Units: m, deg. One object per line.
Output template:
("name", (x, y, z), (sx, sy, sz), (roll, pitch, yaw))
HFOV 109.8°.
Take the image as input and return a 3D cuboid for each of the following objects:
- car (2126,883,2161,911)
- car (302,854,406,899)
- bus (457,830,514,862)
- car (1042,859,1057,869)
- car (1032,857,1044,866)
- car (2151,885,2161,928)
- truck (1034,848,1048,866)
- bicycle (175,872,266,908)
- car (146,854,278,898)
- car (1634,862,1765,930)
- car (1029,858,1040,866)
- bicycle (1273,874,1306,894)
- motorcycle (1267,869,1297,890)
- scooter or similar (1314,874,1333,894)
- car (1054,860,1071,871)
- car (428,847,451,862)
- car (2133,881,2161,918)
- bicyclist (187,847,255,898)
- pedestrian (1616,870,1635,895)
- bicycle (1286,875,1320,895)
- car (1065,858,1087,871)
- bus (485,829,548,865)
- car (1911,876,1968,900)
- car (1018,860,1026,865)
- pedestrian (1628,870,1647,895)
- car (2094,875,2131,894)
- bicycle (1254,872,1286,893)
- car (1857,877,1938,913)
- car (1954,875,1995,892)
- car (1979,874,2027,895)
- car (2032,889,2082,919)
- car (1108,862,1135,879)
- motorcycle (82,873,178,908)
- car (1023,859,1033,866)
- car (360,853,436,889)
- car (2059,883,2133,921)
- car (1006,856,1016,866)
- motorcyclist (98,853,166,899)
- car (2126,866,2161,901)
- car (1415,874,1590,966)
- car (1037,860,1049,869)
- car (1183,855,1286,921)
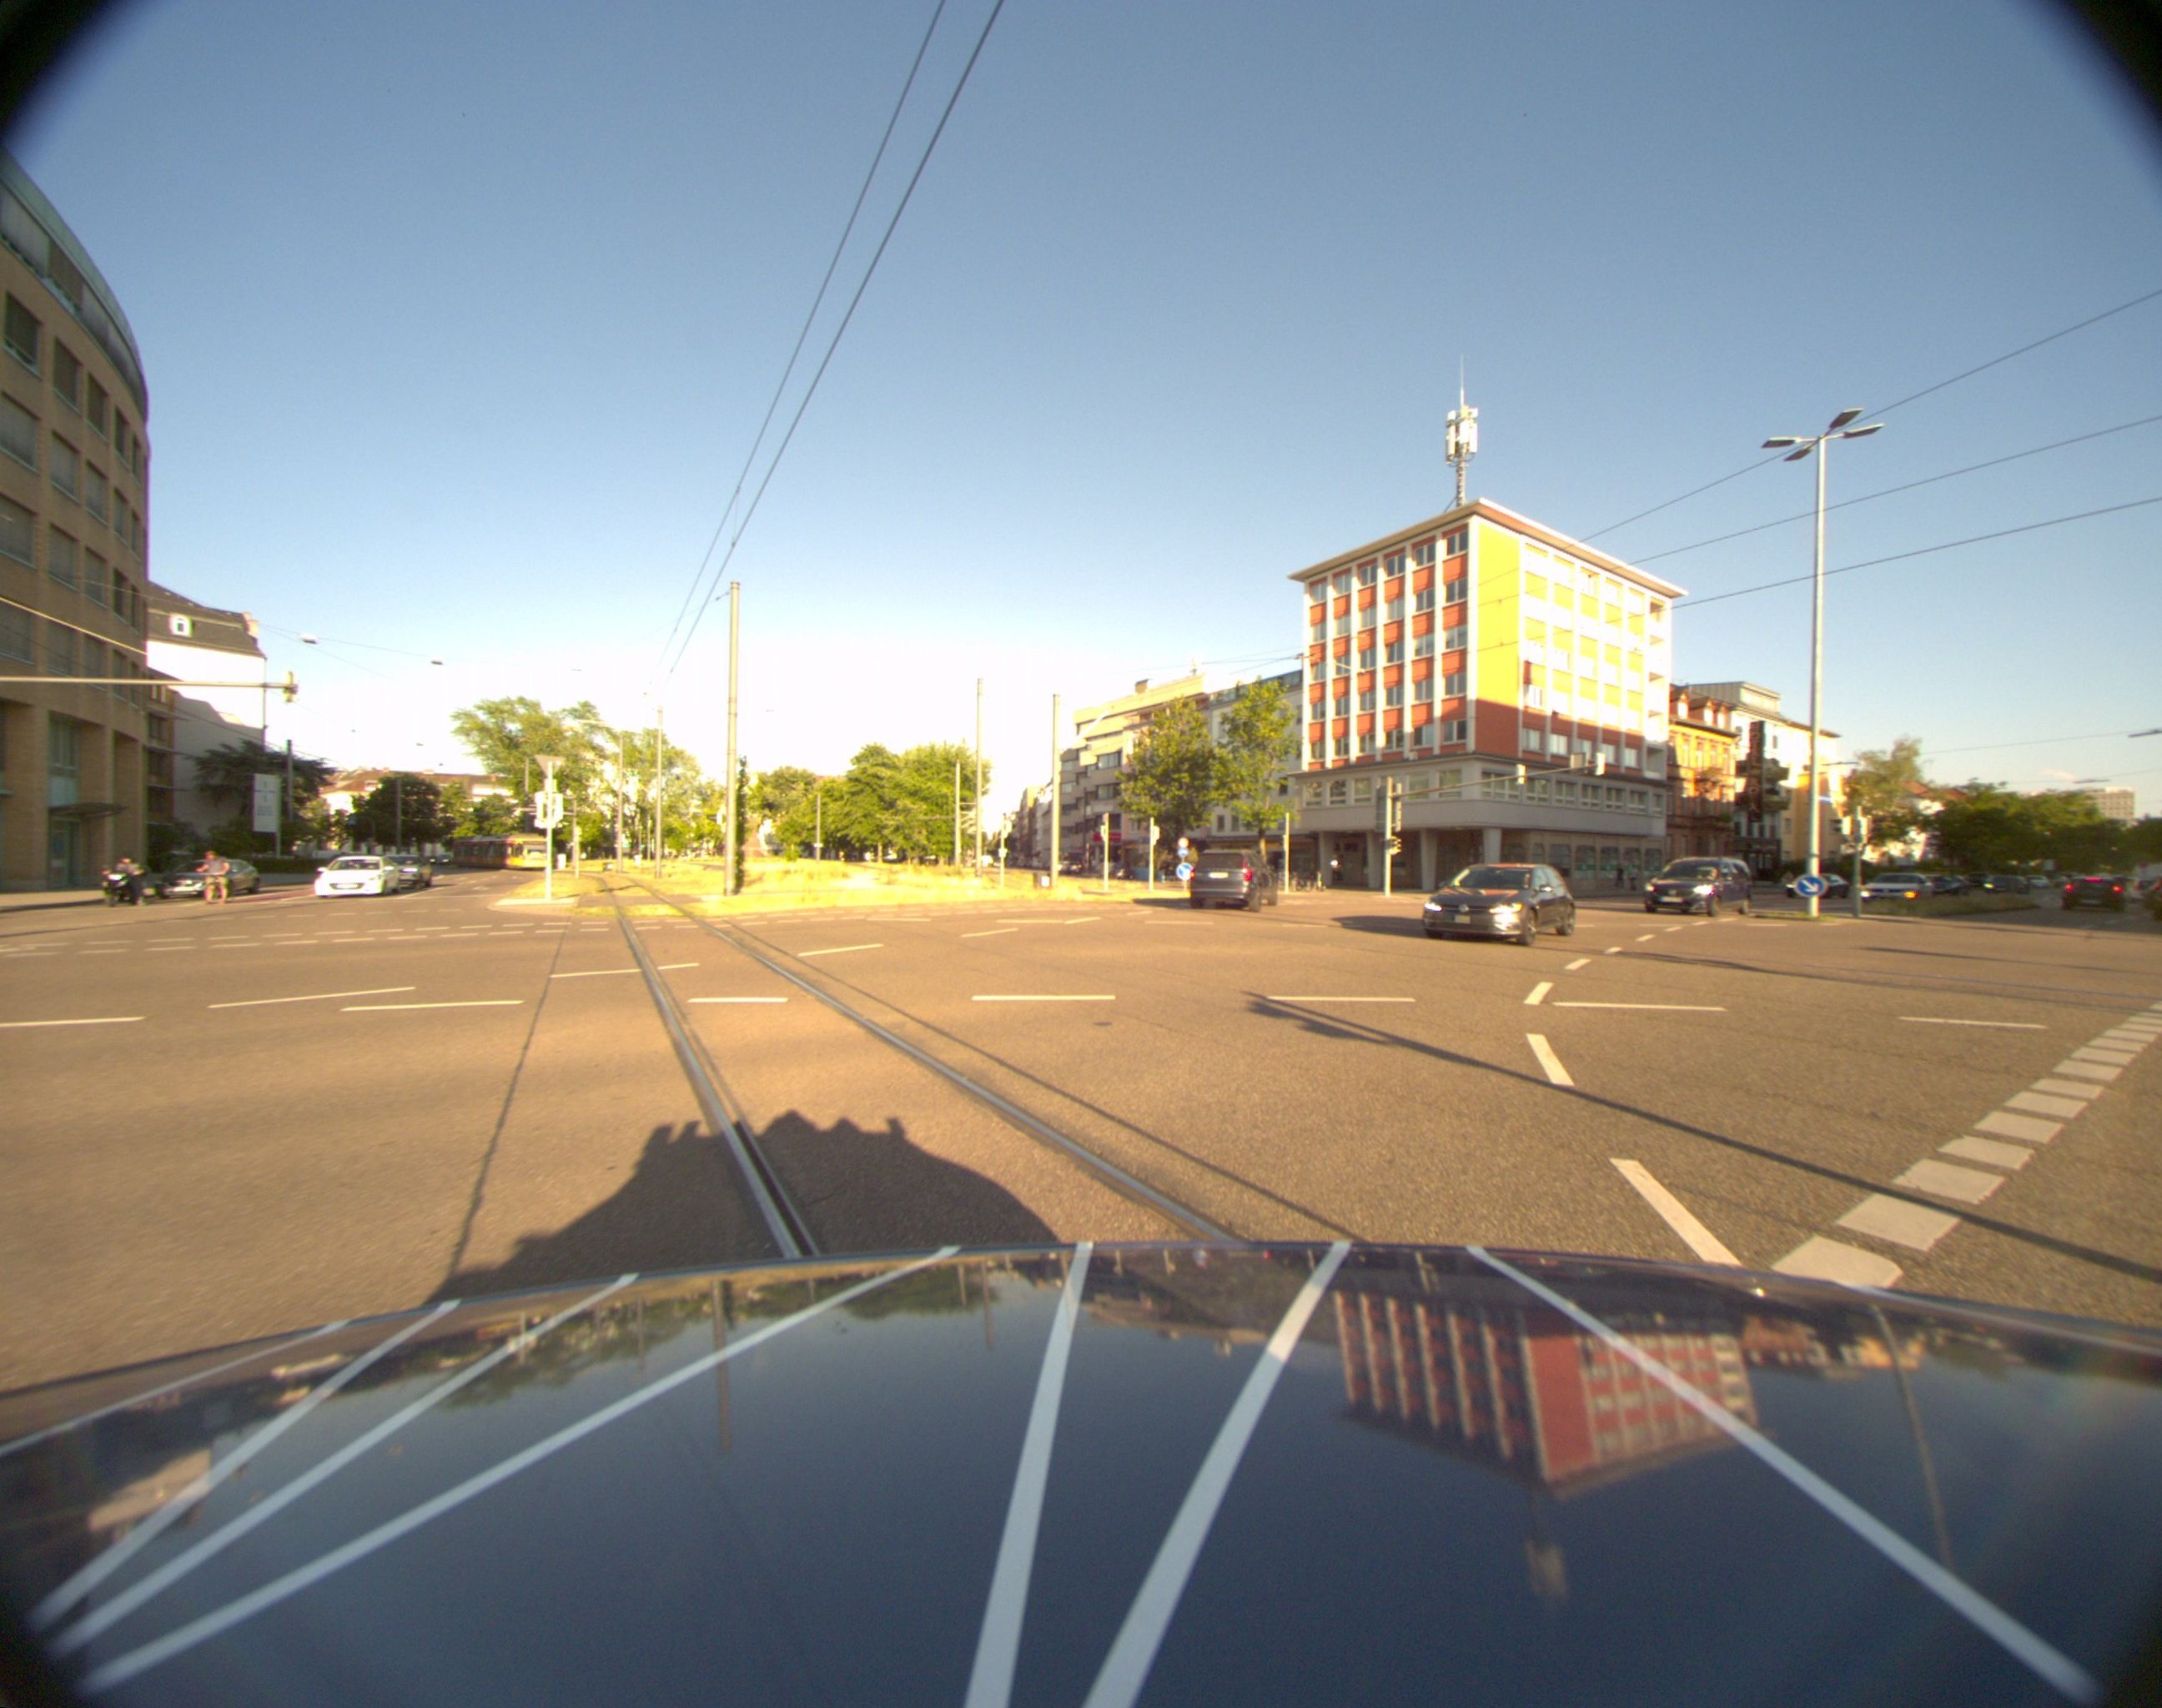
("car", (63.651, 2.561, 45.151), (3.645, 1.536, 1.676), (2, 1, -38))
("car", (-26.594, 0.769, 27.967), (1.999, 1.483, 4.165), (0, 0, -33))
("bus", (-62.443, -0.799, 79.574), (11.047, 3.191, 2.358), (1, 0, 39))
("car", (-4.875, 1.548, 117.619), (1.740, 1.376, 3.620), (1, 0, -10))
("car", (-8.300, 1.444, 145.631), (1.771, 1.692, 3.577), (1, 0, -10))
("car", (41.417, 1.987, 28.130), (4.155, 1.556, 1.796), (2, 0, -32))
("truck", (-7.419, 0.588, 138.788), (1.740, 3.201, 6.401), (1, 0, -10))
("bicycle", (-27.445, 1.104, 24.310), (1.156, 0.994, 2.962), (1, 0, -33))
("car", (-33.040, 0.767, 29.083), (1.989, 1.528, 4.485), (0, 0, -30))
("car", (19.022, 1.212, 23.312), (4.475, 1.843, 1.891), (1, 1, -35))
("car", (-9.335, 1.577, 152.291), (1.771, 1.692, 3.577), (1, 0, -10))
("bicycle", (12.690, 1.822, 46.359), (0.595, 1.108, 2.001), (2, 1, -33))
("motorcycle", (13.398, 1.704, 50.585), (2.271, 1.384, 0.841), (1, -1, -43))
("scooter or similar", (16.059, 1.970, 50.366), (0.485, 1.228, 1.559), (1, 1, -12))
("car", (-2.565, 1.538, 104.046), (1.741, 1.376, 3.388), (1, 0, -10))
("car", (-83.366, 0.066, 98.757), (1.848, 1.807, 3.989), (1, 0, -34))
("car", (52.457, 2.210, 36.625), (4.795, 1.701, 1.816), (2, 1, -34))
("bicyclist", (-27.359, 0.572, 24.203), (1.156, 1.562, 1.223), (1, 0, -33))
("pedestrian", (37.893, 1.973, 52.892), (1.013, 1.716, 0.667), (1, 0, -30))
("bicycle", (13.754, 1.896, 47.048), (0.595, 1.108, 2.056), (1, 1, -34))
("car", (-0.648, 1.228, 93.280), (1.965, 1.547, 3.870), (1, 0, -10))
("bus", (-53.968, -0.686, 72.492), (11.084, 3.191, 2.416), (1, 0, 40))
("car", (58.252, 2.279, 51.531), (4.007, 1.531, 1.903), (1, 0, -32))
("car", (-14.377, 2.067, 184.975), (1.496, 1.366, 3.421), (1, 0, -10))
("pedestrian", (38.263, 1.936, 52.234), (1.013, 1.716, 0.667), (1, 1, -30))
("car", (95.379, 2.855, 70.260), (4.110, 1.619, 1.720), (2, 1, -33))
("bicycle", (11.291, 1.696, 45.474), (0.595, 1.109, 1.972), (1, 1, -33))
("car", (39.194, 1.916, 36.450), (4.007, 1.531, 1.903), (1, 0, -32))
("car", (88.062, 2.898, 74.890), (4.201, 1.615, 1.943), (1, 0, -32))
("car", (73.212, 2.407, 60.314), (4.007, 1.531, 1.903), (1, 0, -32))
("car", (56.309, 2.839, 43.848), (3.814, 1.536, 1.676), (2, 1, -38))
("car", (3.584, 1.502, 68.249), (1.641, 1.419, 3.633), (1, 0, -10))
("motorcycle", (-29.938, 1.122, 23.987), (1.033, 0.958, 2.720), (1, 0, -32))
("car", (-12.347, 1.961, 176.184), (1.807, 1.586, 3.674), (1, 0, -10))
("car", (-30.331, 0.696, 33.879), (1.823, 1.483, 4.054), (0, 0, -32))
("car", (45.616, 2.111, 34.130), (3.483, 1.536, 1.578), (2, 1, -31))
("car", (-13.393, 1.289, 144.971), (1.650, 1.803, 3.486), (1, 0, -10))
("motorcyclist", (-29.941, 0.677, 23.995), (1.033, 1.427, 1.066), (0, 0, -32))
("car", (87.103, 2.413, 61.782), (4.474, 2.741, 2.131), (1, 1, -32))
("car", (8.241, 1.146, 14.671), (4.279, 1.450, 1.766), (1, 0, -44))
("car", (-6.580, 1.819, 131.090), (1.740, 1.376, 3.620), (1, 0, -10))
("car", (4.768, 0.922, 23.037), (1.995, 1.713, 5.039), (1, 1, 24))
